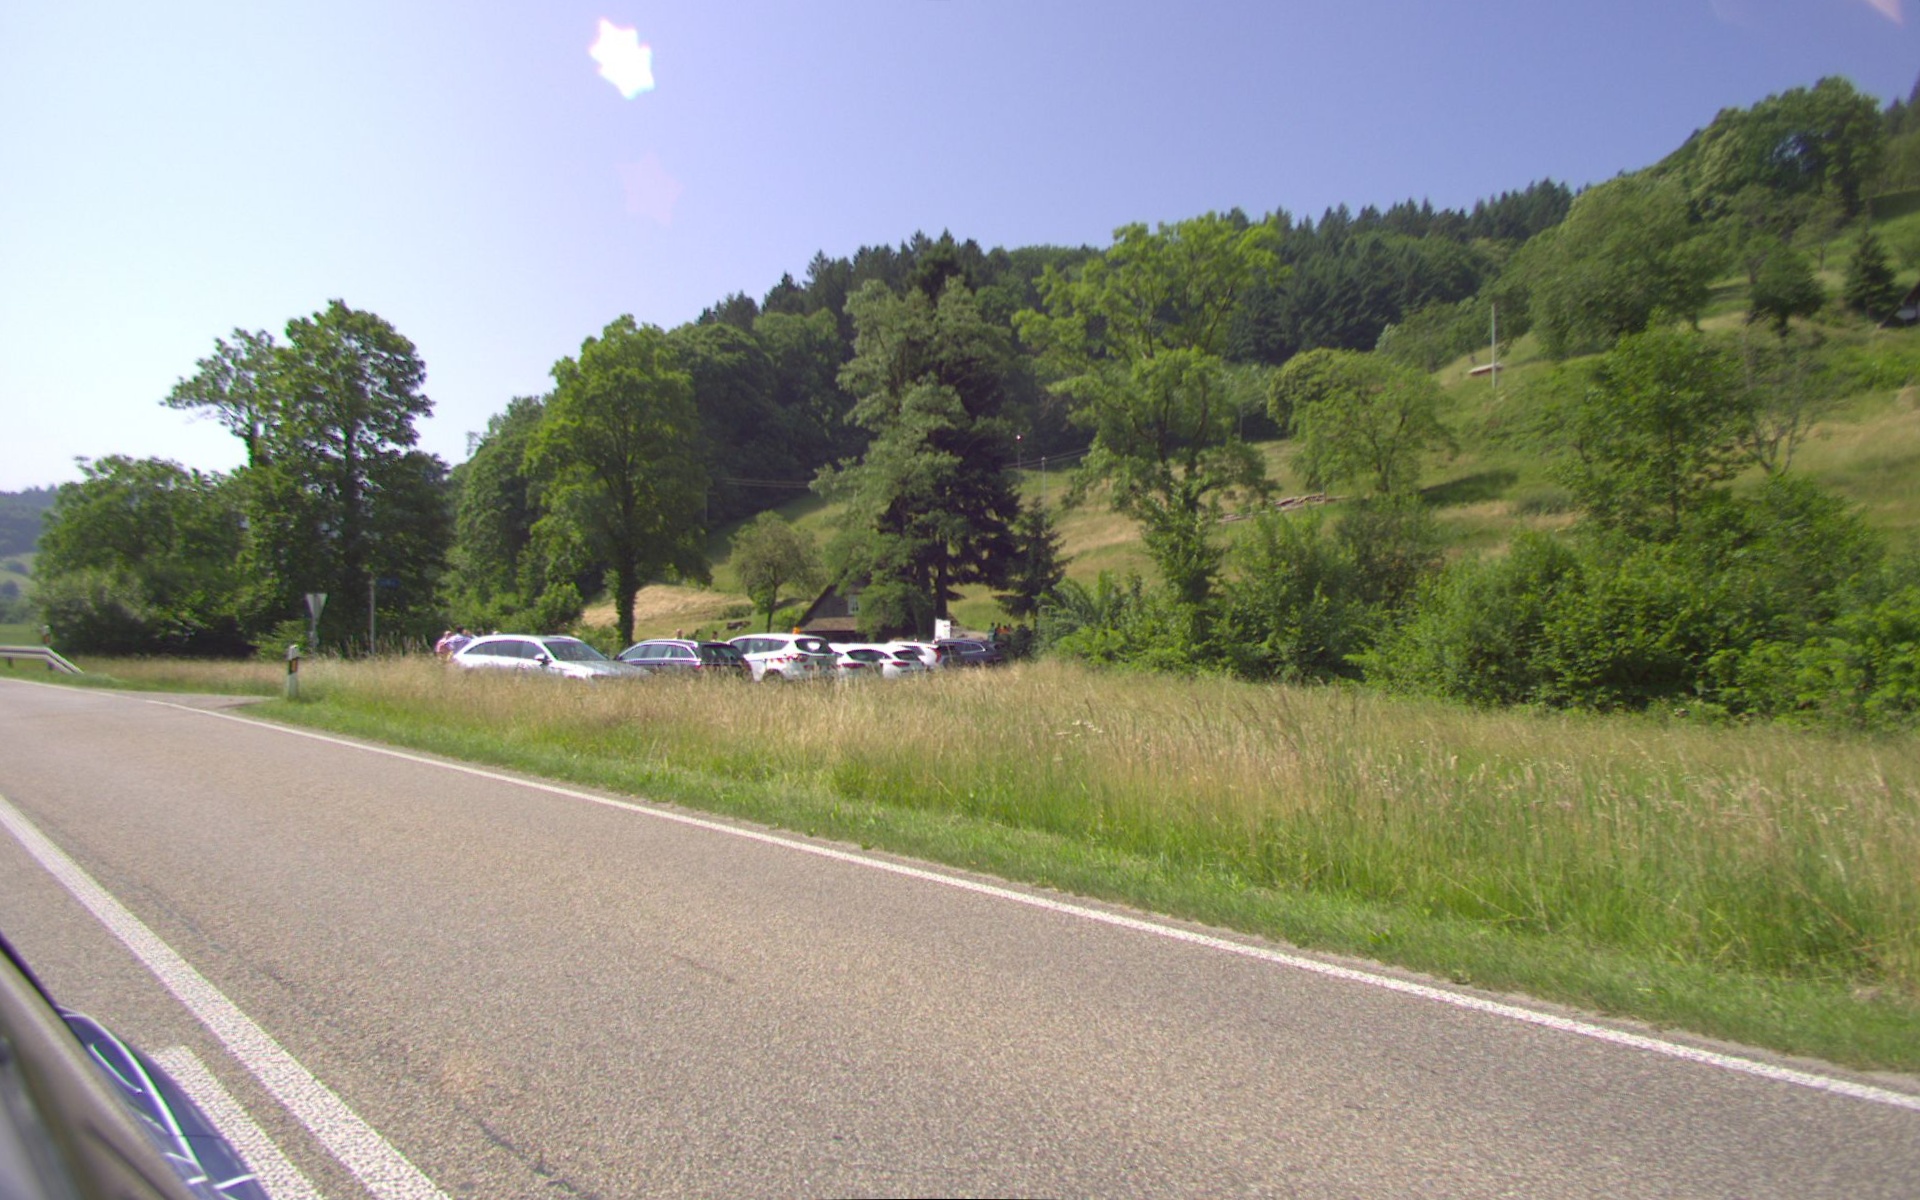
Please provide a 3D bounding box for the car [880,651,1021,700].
[{"bbox_3d":[-0.348,2.588,35.089,4.500,1.512,1.981,-1,-4,28],"label":"car"}]

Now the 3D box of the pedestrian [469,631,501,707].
[{"bbox_3d":[-11.992,1.739,25.549,0.638,1.854,0.773,3,-4,-27],"label":"pedestrian"}]

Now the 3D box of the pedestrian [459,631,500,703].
[{"bbox_3d":[-12.405,1.719,26.130,0.758,1.810,0.796,4,-4,-34],"label":"pedestrian"}]

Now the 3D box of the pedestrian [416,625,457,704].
[{"bbox_3d":[-13.201,1.623,25.540,0.529,1.970,0.658,0,-4,20],"label":"pedestrian"}]

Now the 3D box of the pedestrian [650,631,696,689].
[{"bbox_3d":[-9.075,1.904,32.031,0.995,1.808,0.948,-1,-4,26],"label":"pedestrian"}]

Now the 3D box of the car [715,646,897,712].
[{"bbox_3d":[-4.344,2.168,28.391,4.882,1.654,1.980,-1,-4,30],"label":"car"}]

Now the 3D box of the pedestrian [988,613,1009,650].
[{"bbox_3d":[2.149,1.732,56.031,0.929,2.029,0.694,-1,-4,31],"label":"pedestrian"}]

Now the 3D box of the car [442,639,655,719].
[{"bbox_3d":[-8.626,1.679,21.173,4.258,1.512,1.814,-3,-7,29],"label":"car"}]

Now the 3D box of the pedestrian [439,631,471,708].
[{"bbox_3d":[-12.612,1.734,25.276,0.638,1.873,0.773,3,-4,-27],"label":"pedestrian"}]

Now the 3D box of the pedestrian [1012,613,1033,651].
[{"bbox_3d":[3.449,1.752,55.694,0.927,2.029,0.695,0,-3,25],"label":"pedestrian"}]

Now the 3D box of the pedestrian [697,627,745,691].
[{"bbox_3d":[-7.516,1.852,31.831,0.861,1.984,1.114,-2,-5,39],"label":"pedestrian"}]

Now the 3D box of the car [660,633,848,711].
[{"bbox_3d":[-5.284,1.756,25.716,4.758,1.796,1.856,-1,-3,33],"label":"car"}]

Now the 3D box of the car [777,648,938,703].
[{"bbox_3d":[-3.119,2.253,30.709,4.500,1.512,1.981,-1,-4,28],"label":"car"}]

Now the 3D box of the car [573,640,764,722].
[{"bbox_3d":[-6.907,1.839,23.778,4.616,1.664,1.974,-1,-4,39],"label":"car"}]

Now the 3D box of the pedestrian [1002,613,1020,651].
[{"bbox_3d":[2.769,1.733,54.977,0.689,2.029,0.935,2,-3,-18],"label":"pedestrian"}]

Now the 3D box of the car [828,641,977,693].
[{"bbox_3d":[-1.877,2.129,32.819,4.500,1.512,1.981,-1,-1,28],"label":"car"}]

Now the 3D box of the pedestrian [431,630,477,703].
[{"bbox_3d":[-13.234,1.731,26.466,0.698,1.856,0.780,-2,-5,40],"label":"pedestrian"}]
